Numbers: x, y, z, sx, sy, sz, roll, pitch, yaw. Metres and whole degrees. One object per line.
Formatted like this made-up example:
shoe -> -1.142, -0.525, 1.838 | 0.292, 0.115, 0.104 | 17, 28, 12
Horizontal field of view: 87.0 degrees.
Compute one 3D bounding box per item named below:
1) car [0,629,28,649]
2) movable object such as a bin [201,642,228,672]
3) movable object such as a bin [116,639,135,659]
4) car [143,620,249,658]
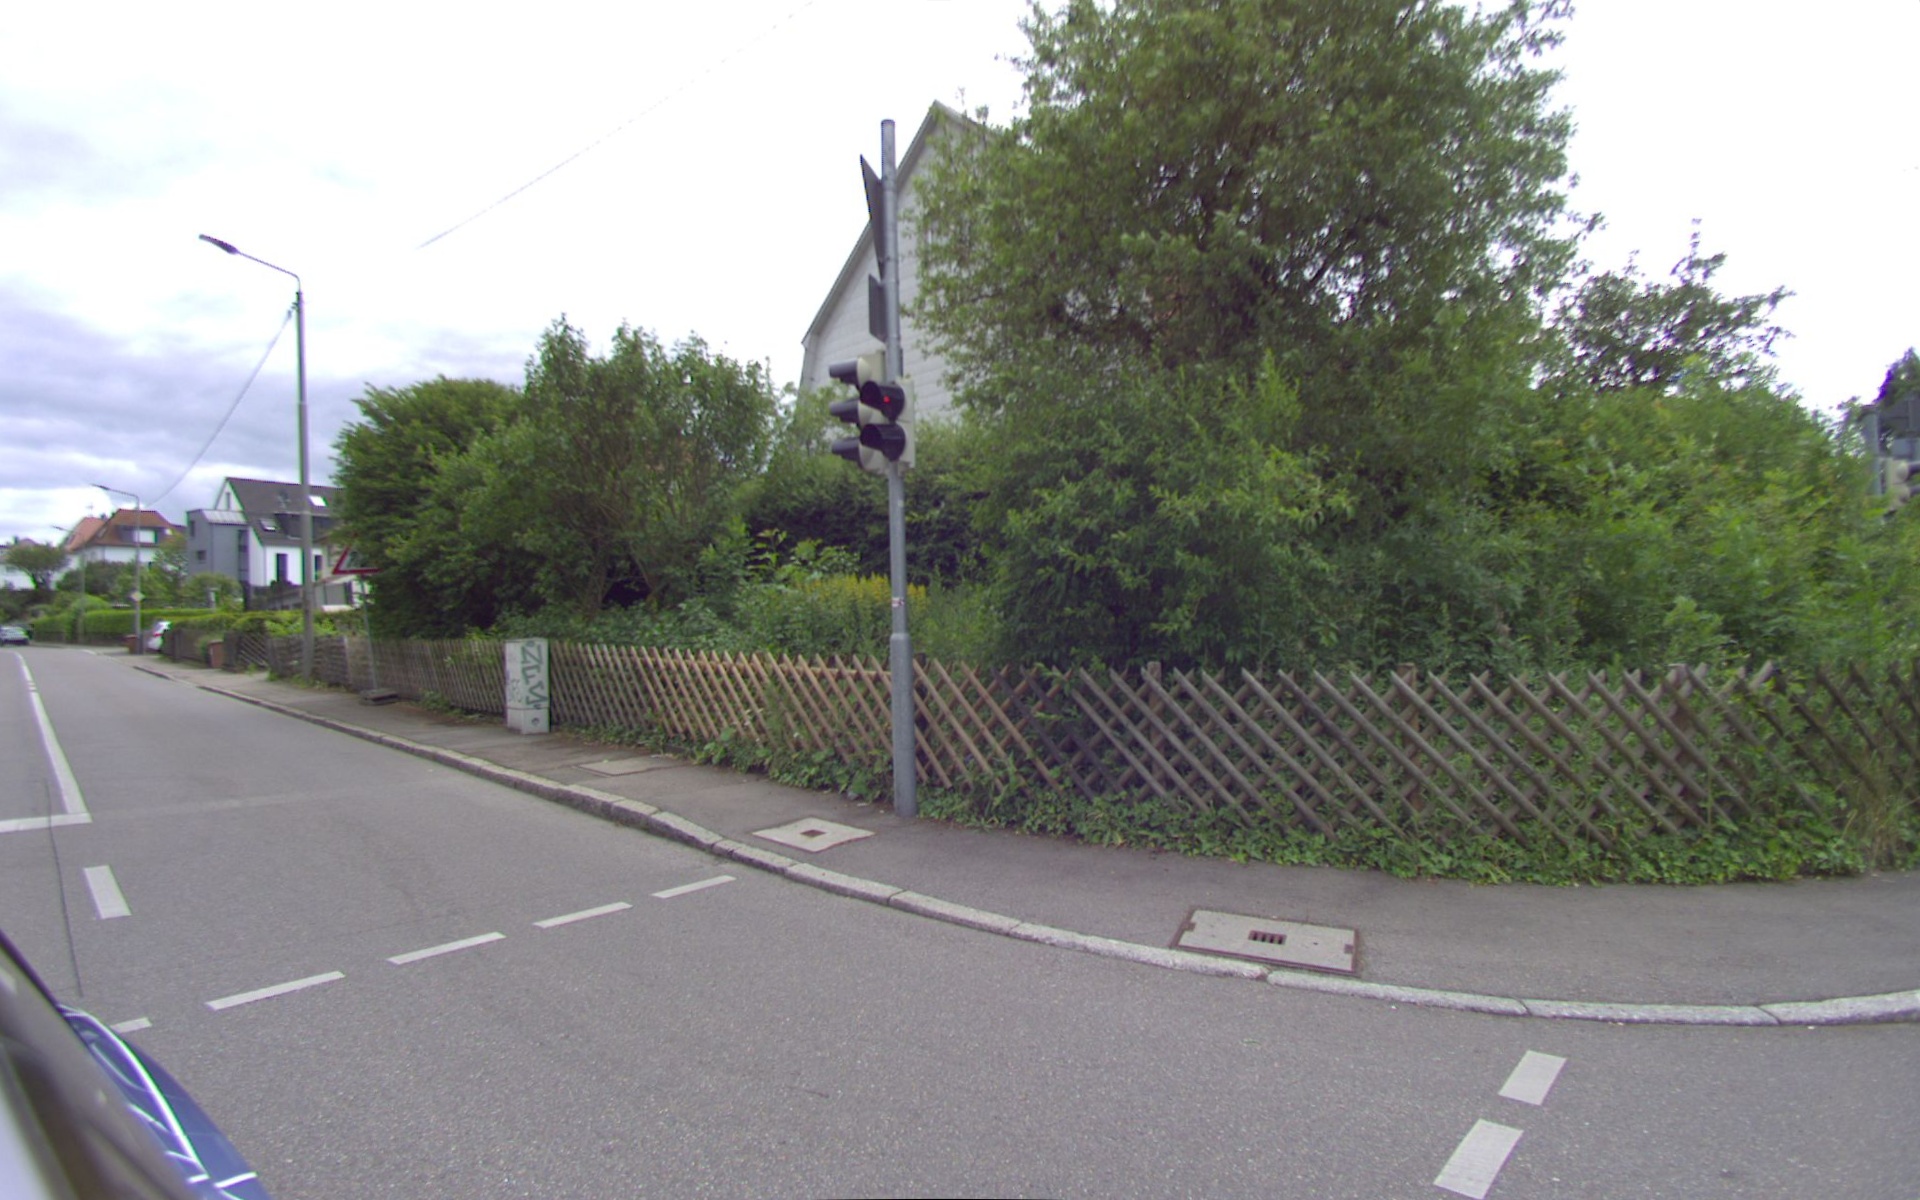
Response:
car -> -73.675, 3.005, 78.106 | 3.993, 1.535, 1.818 | -2, -1, 37
movable object such as a bin -> -23.864, 1.815, 32.405 | 0.624, 0.920, 0.562 | -2, 0, -34
movable object such as a bin -> -41.450, 2.448, 50.246 | 0.572, 0.961, 0.680 | -2, -1, 44
car -> -37.603, 1.900, 49.863 | 3.941, 1.605, 1.720 | -3, 1, -44
